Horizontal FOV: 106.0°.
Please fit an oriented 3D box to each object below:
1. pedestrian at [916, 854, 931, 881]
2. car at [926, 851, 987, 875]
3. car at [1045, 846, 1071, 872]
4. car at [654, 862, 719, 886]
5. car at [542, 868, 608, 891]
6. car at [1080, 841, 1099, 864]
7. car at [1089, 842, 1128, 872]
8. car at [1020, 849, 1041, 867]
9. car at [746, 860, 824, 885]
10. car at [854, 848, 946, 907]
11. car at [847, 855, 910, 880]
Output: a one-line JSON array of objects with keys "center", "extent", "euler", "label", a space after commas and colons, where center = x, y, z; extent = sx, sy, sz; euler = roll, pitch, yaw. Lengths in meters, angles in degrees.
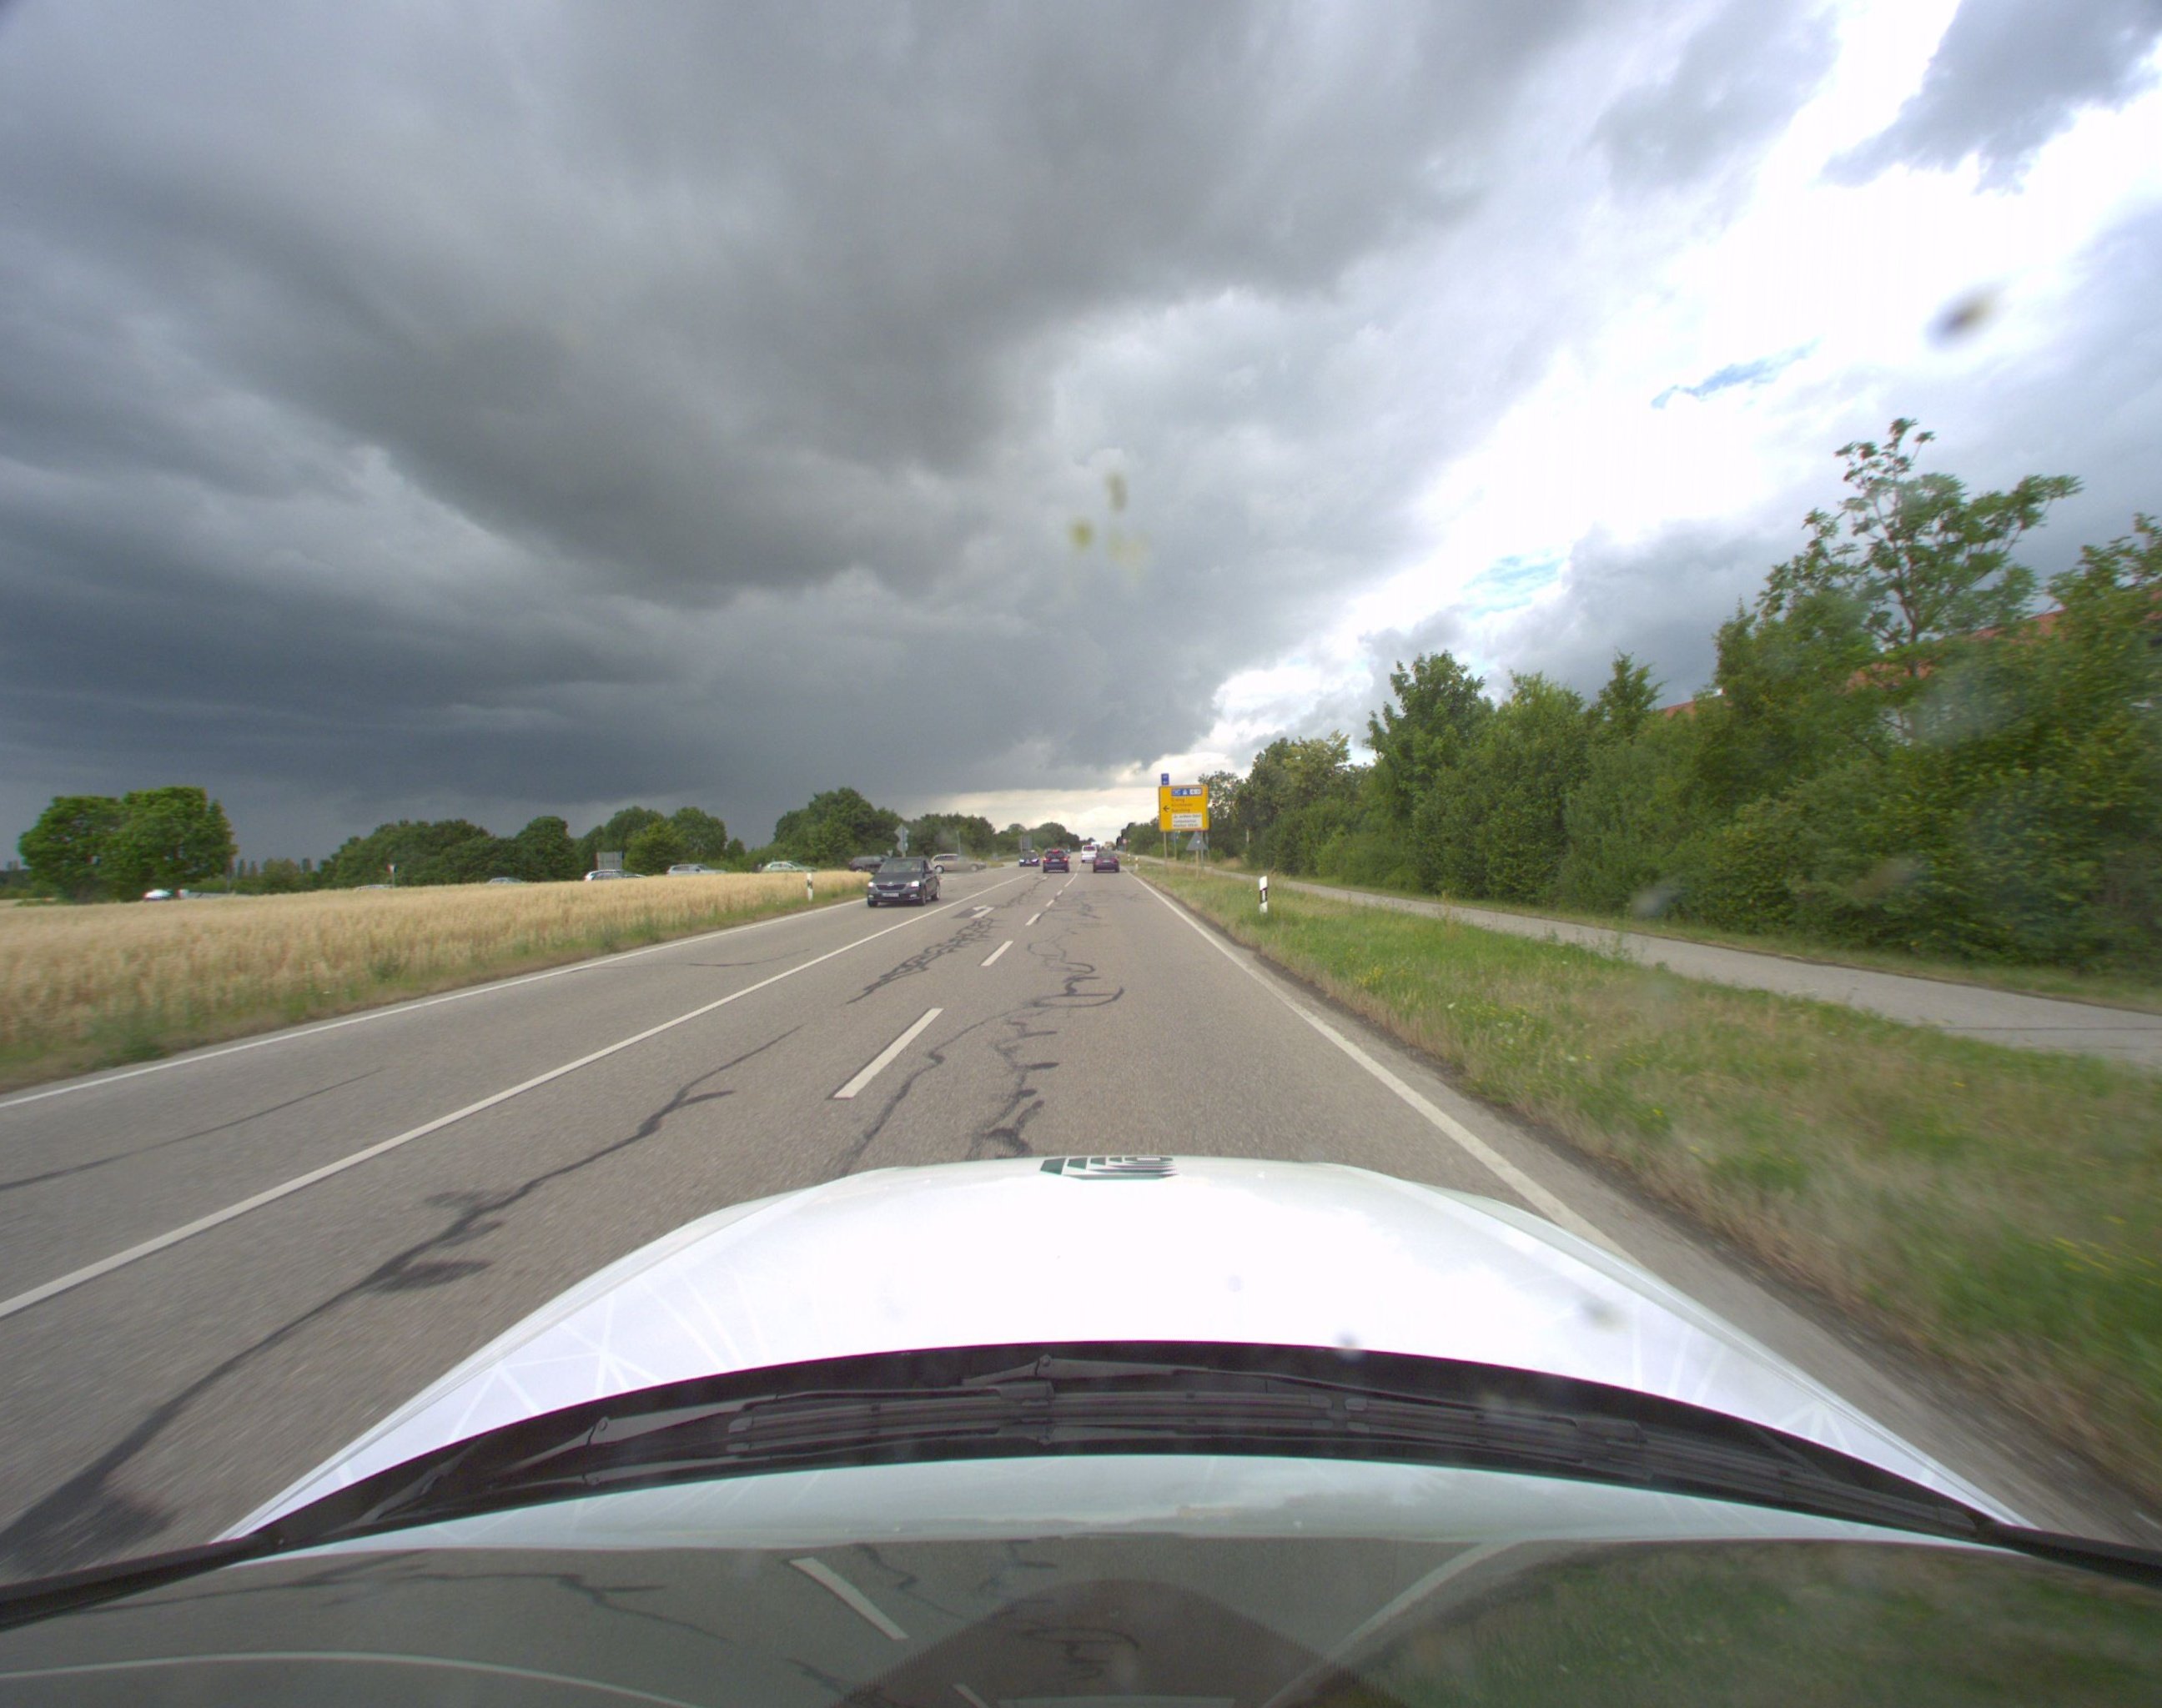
[{"center": [-9.076, 0.777, 46.991], "extent": [0.363, 1.575, 0.708], "euler": [-3, 0, 37], "label": "pedestrian"}, {"center": [-9.562, 0.681, 62.803], "extent": [4.404, 1.649, 1.500], "euler": [-2, 0, -4], "label": "car"}, {"center": [-1.615, 0.356, 57.943], "extent": [1.566, 1.701, 4.001], "euler": [-2, 0, 1], "label": "car"}, {"center": [-30.446, 1.559, 62.957], "extent": [4.052, 1.649, 1.869], "euler": [-2, 0, 5], "label": "car"}, {"center": [-39.892, 1.999, 64.298], "extent": [4.052, 1.649, 1.869], "euler": [-2, 0, 5], "label": "car"}, {"center": [0.963, -0.130, 92.685], "extent": [1.991, 2.452, 4.853], "euler": [-2, 0, 1], "label": "car"}, {"center": [1.884, 0.216, 56.656], "extent": [2.365, 1.880, 4.475], "euler": [-4, 0, -1], "label": "car"}, {"center": [-4.836, 0.348, 78.337], "extent": [1.640, 1.590, 4.001], "euler": [-2, 0, 1], "label": "car"}, {"center": [-22.879, 1.446, 63.047], "extent": [5.283, 1.649, 1.869], "euler": [-2, 0, 5], "label": "car"}, {"center": [-5.551, 0.683, 25.513], "extent": [1.847, 1.630, 4.001], "euler": [-2, 0, 1], "label": "car"}, {"center": [-15.476, 1.020, 62.411], "extent": [4.402, 1.649, 1.501], "euler": [-2, 0, -3], "label": "car"}]
